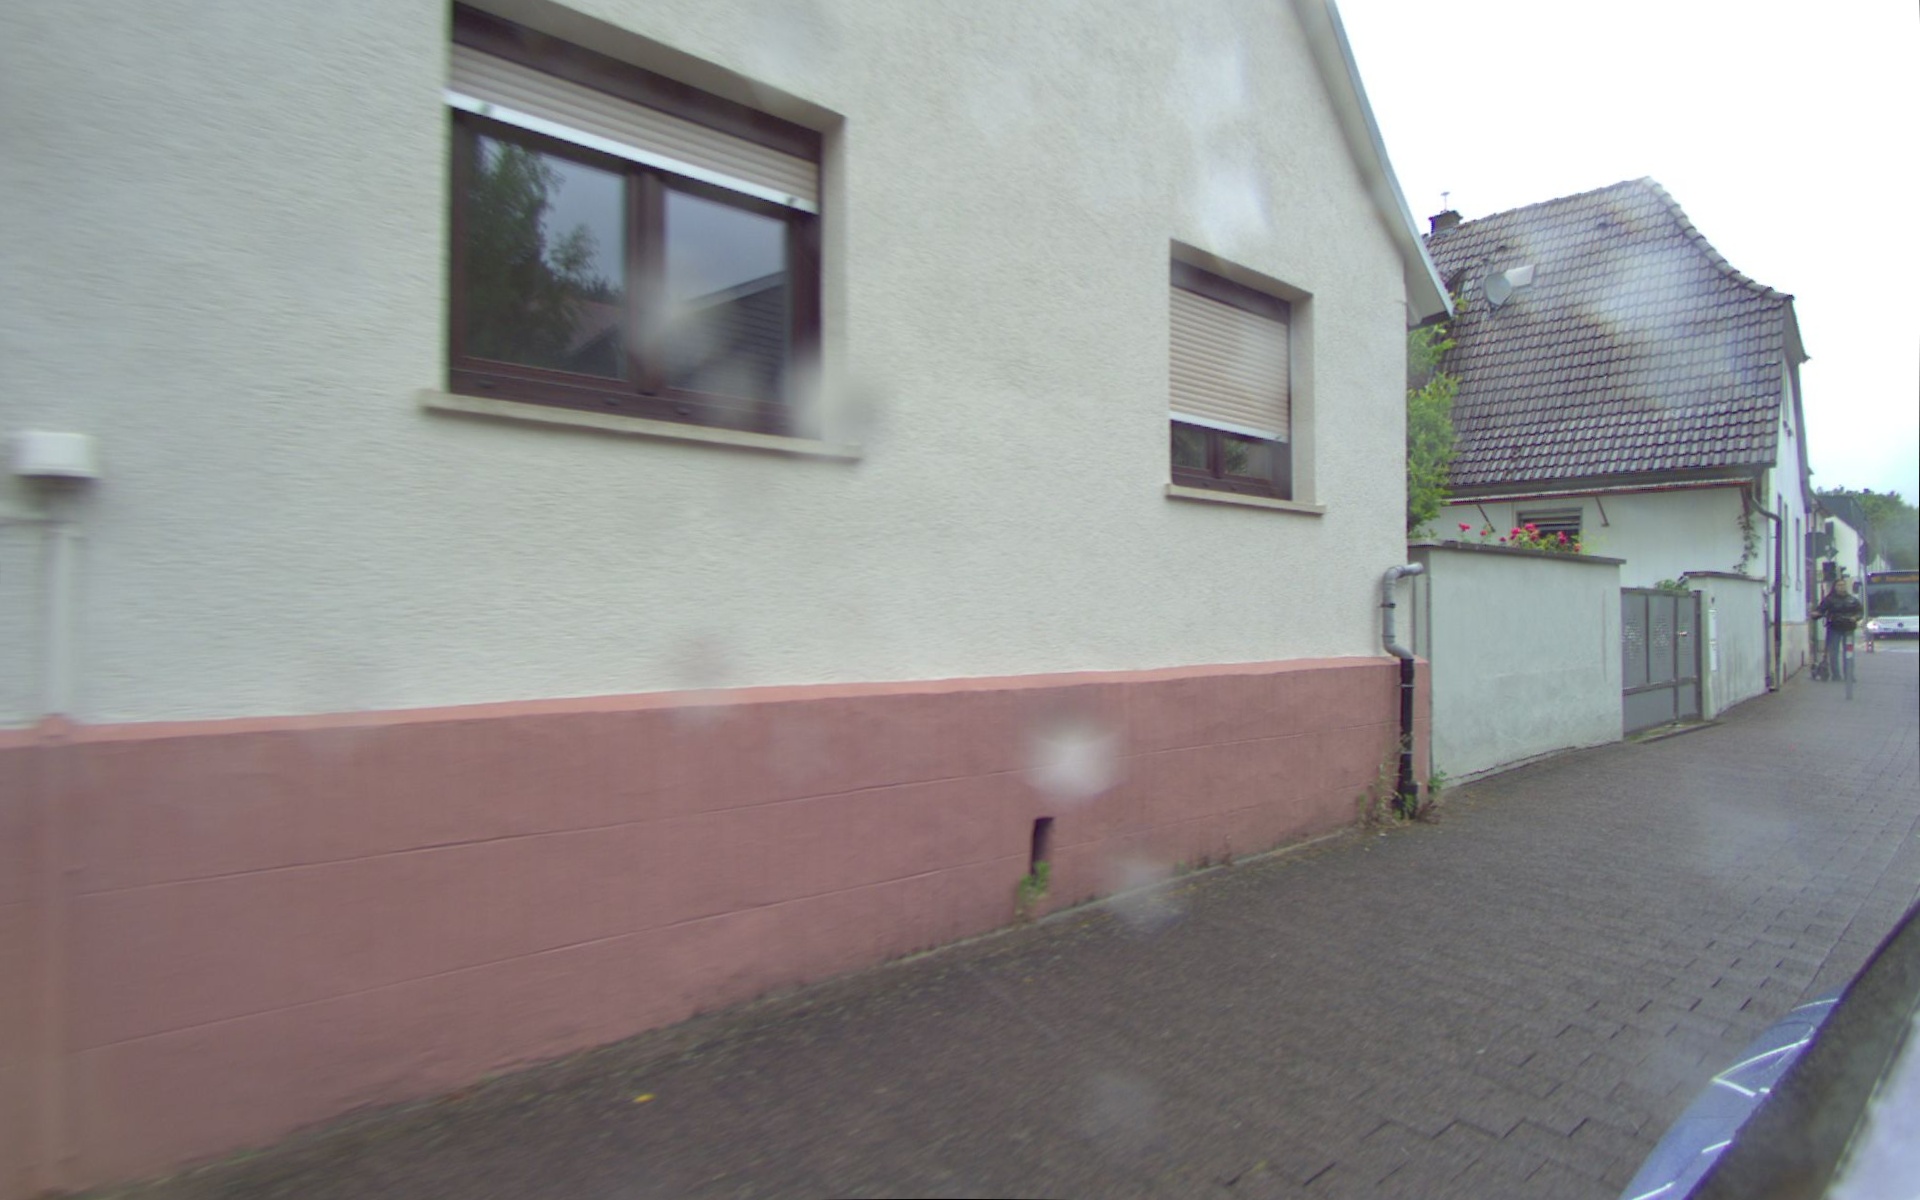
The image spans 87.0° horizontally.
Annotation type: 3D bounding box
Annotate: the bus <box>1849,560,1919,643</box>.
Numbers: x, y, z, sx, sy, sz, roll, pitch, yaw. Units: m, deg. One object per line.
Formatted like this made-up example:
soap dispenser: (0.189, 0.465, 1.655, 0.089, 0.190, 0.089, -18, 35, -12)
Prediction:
bus: (44.910, 0.013, 47.102, 13.628, 3.455, 3.437, 0, -1, -41)

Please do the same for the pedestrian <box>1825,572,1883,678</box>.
pedestrian: (15.273, 0.409, 17.294, 0.694, 1.754, 0.808, -1, -1, 44)
